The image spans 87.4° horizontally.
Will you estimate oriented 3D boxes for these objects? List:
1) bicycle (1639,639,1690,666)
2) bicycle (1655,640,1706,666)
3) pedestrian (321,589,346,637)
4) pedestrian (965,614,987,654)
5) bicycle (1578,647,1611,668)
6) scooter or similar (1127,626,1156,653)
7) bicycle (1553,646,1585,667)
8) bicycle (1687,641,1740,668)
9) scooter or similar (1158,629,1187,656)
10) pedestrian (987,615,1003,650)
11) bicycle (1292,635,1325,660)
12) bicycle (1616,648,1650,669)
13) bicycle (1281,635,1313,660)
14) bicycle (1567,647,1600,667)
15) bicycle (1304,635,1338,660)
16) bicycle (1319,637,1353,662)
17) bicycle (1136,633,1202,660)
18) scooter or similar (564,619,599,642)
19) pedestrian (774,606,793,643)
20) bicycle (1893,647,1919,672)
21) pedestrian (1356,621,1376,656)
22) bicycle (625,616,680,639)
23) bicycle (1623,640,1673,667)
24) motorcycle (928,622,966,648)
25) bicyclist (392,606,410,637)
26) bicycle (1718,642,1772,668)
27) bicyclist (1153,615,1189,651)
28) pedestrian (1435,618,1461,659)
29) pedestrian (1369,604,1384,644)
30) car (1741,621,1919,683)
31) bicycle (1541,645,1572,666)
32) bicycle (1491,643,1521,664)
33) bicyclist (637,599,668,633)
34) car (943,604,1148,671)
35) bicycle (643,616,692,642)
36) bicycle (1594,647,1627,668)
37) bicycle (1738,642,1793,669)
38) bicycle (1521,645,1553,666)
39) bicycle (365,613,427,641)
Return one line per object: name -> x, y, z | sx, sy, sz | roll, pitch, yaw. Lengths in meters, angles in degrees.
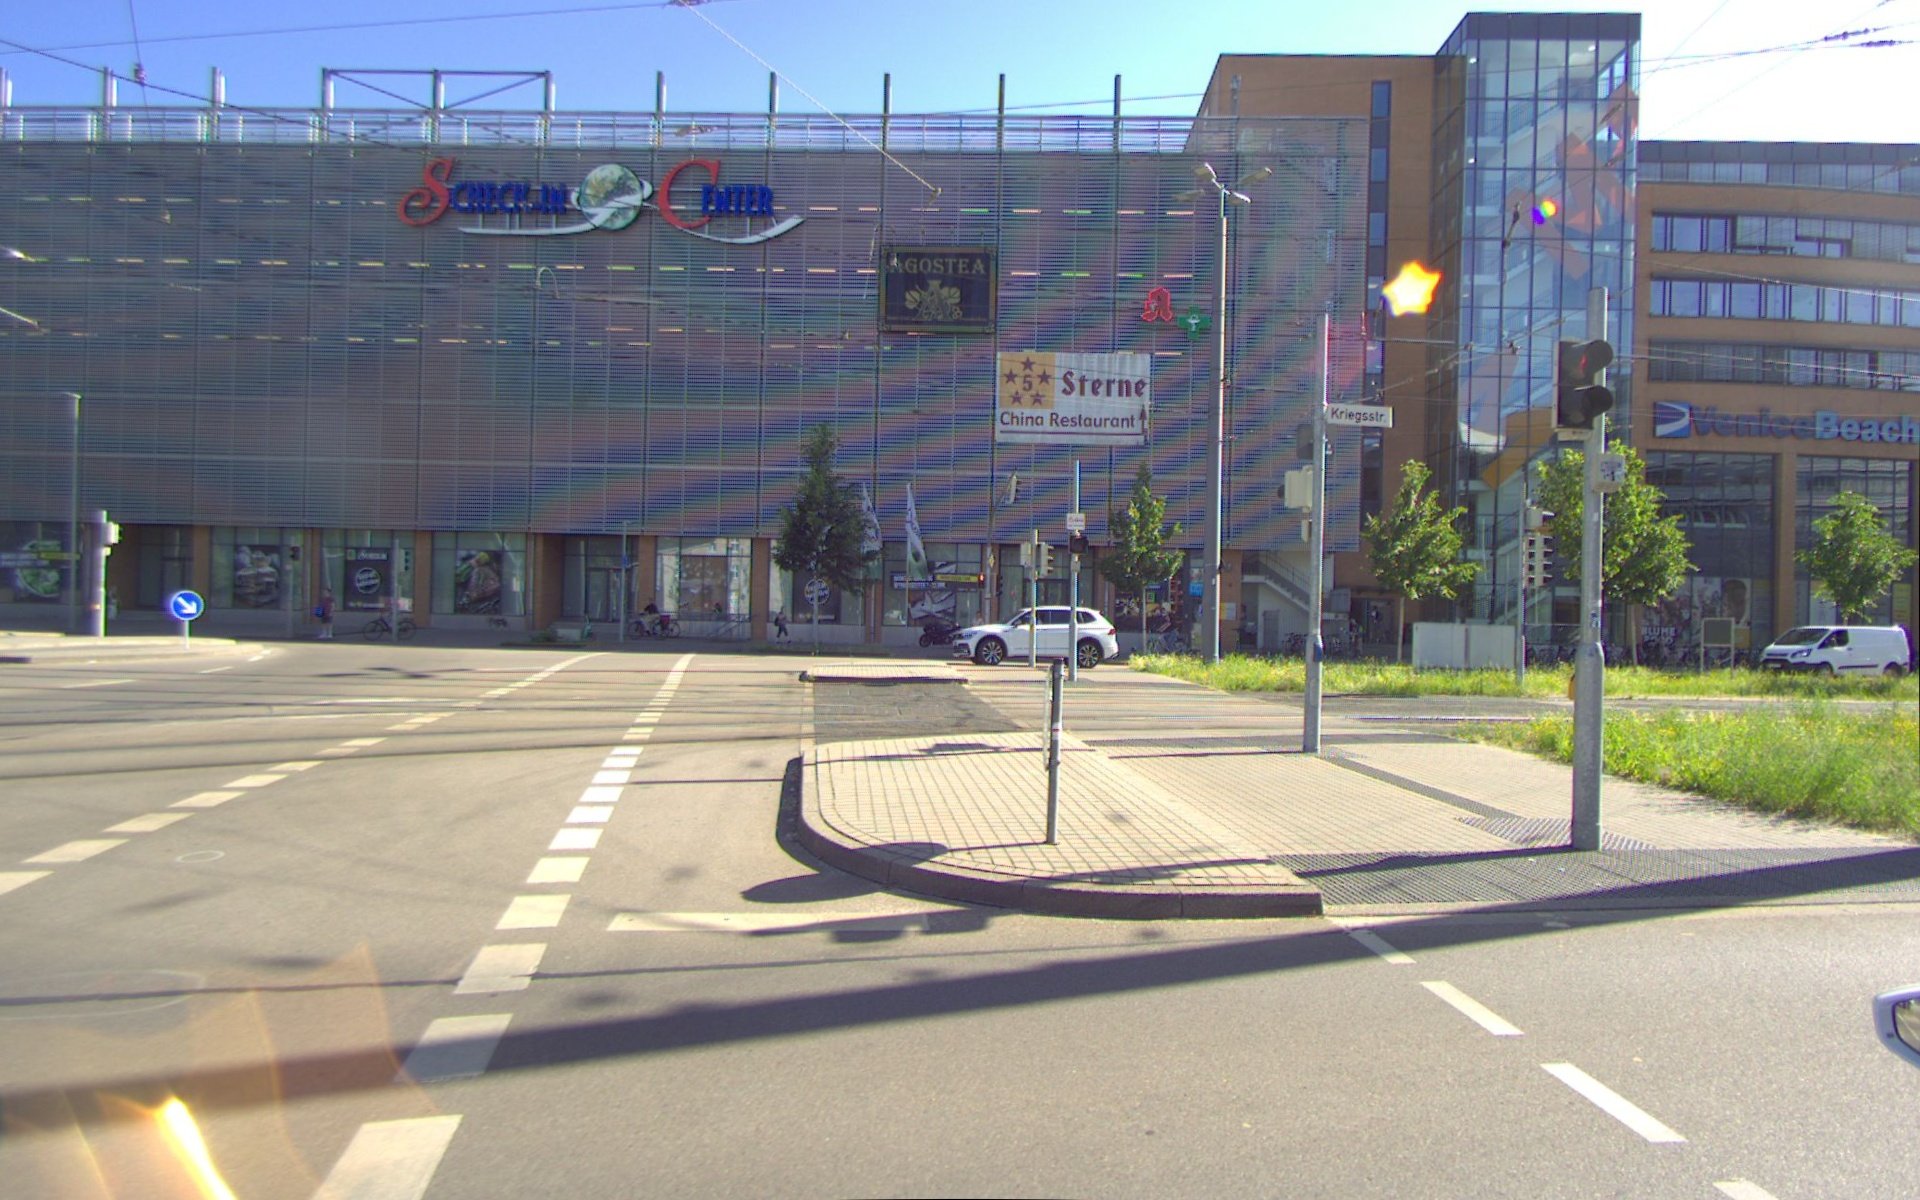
bicycle -> 33.934, 2.529, 48.428 | 0.739, 1.138, 2.178 | 2, 0, -5
bicycle -> 34.785, 2.539, 48.520 | 0.739, 1.138, 2.178 | 2, 0, -5
pedestrian -> -23.644, 0.504, 37.923 | 0.615, 1.774, 0.586 | 2, -1, -18
pedestrian -> 0.599, 1.279, 37.999 | 0.726, 1.506, 0.490 | 2, -1, 10
bicycle -> 28.463, 2.568, 45.063 | 0.437, 0.830, 1.450 | 2, 0, -5
scooter or similar -> 7.976, 1.748, 44.170 | 1.182, 1.117, 0.277 | 3, -1, 3
bicycle -> 27.287, 2.525, 45.057 | 0.437, 0.830, 1.450 | 2, 0, -5
bicycle -> 35.992, 2.591, 48.035 | 0.739, 1.138, 2.178 | 2, 0, -5
scooter or similar -> 9.378, 1.884, 44.355 | 1.182, 1.117, 0.277 | 3, -1, 3
pedestrian -> 1.299, 1.195, 37.089 | 0.440, 1.245, 0.397 | 1, -1, 26
bicycle -> 15.179, 2.057, 43.805 | 0.483, 0.967, 2.178 | 2, 0, -5
bicycle -> 30.303, 2.628, 45.252 | 0.437, 0.830, 1.450 | 2, 0, -5
bicycle -> 14.643, 2.037, 43.706 | 0.483, 0.967, 2.178 | 2, 0, -5
bicycle -> 27.964, 2.555, 45.075 | 0.437, 0.830, 1.450 | 2, 0, -5
bicycle -> 15.781, 2.081, 43.947 | 0.483, 0.967, 2.178 | 2, 0, -5
bicycle -> 16.443, 2.140, 43.988 | 0.483, 0.967, 2.178 | 2, 0, -5
bicycle -> 8.432, 1.871, 40.637 | 2.517, 1.024, 0.598 | 2, -1, 2
scooter or similar -> -14.732, 1.193, 39.121 | 1.203, 0.862, 0.301 | 2, -1, -2
pedestrian -> -7.400, 1.034, 42.196 | 0.636, 1.539, 0.491 | 2, -1, 5
bicycle -> 46.416, 2.907, 48.395 | 0.739, 1.138, 2.178 | 2, 0, -5
pedestrian -> 18.522, 1.759, 45.809 | 0.648, 1.574, 0.638 | 1, -1, 7
bicycle -> -12.599, 1.142, 41.185 | 2.008, 0.879, 0.682 | 2, -1, 0
bicycle -> 33.004, 2.546, 48.246 | 0.739, 1.138, 2.178 | 2, 0, -5
motorcycle -> -0.557, 1.509, 43.261 | 1.587, 1.052, 0.402 | 2, -1, 1
bicyclist -> -21.064, 0.814, 37.844 | 0.557, 1.155, 0.555 | 2, -1, -32
bicycle -> 37.623, 2.621, 48.200 | 0.739, 1.138, 2.178 | 2, 0, -5
bicyclist -> 8.529, 1.323, 40.657 | 1.286, 1.426, 0.594 | 2, -1, 2
pedestrian -> 20.840, 1.654, 42.878 | 0.765, 1.707, 0.596 | 2, -1, -13
pedestrian -> 20.535, 1.165, 49.557 | 0.530, 1.940, 0.374 | 3, -1, 8
car -> 31.583, 1.863, 36.431 | 5.160, 2.040, 2.225 | 2, -1, -9
bicycle -> 26.721, 2.494, 45.004 | 0.437, 0.830, 1.450 | 2, 0, -5
bicycle -> 24.441, 2.399, 45.017 | 0.437, 0.830, 1.450 | 2, 0, -5
bicyclist -> -12.616, 0.660, 41.194 | 1.019, 1.335, 0.682 | 2, -1, 0
car -> 2.368, 1.048, 28.285 | 5.446, 1.674, 1.811 | 2, -1, -9
bicycle -> -12.623, 1.258, 43.325 | 1.914, 1.052, 0.573 | 2, -1, -4
bicycle -> 29.299, 2.593, 45.264 | 0.437, 0.830, 1.450 | 2, 0, -5
bicycle -> 38.615, 2.655, 48.181 | 0.739, 1.138, 2.178 | 2, 0, -5
bicycle -> 25.752, 2.463, 44.852 | 0.437, 0.830, 1.450 | 2, 0, -5
bicycle -> -21.197, 1.032, 37.774 | 2.000, 0.998, 0.555 | 2, -1, -33
